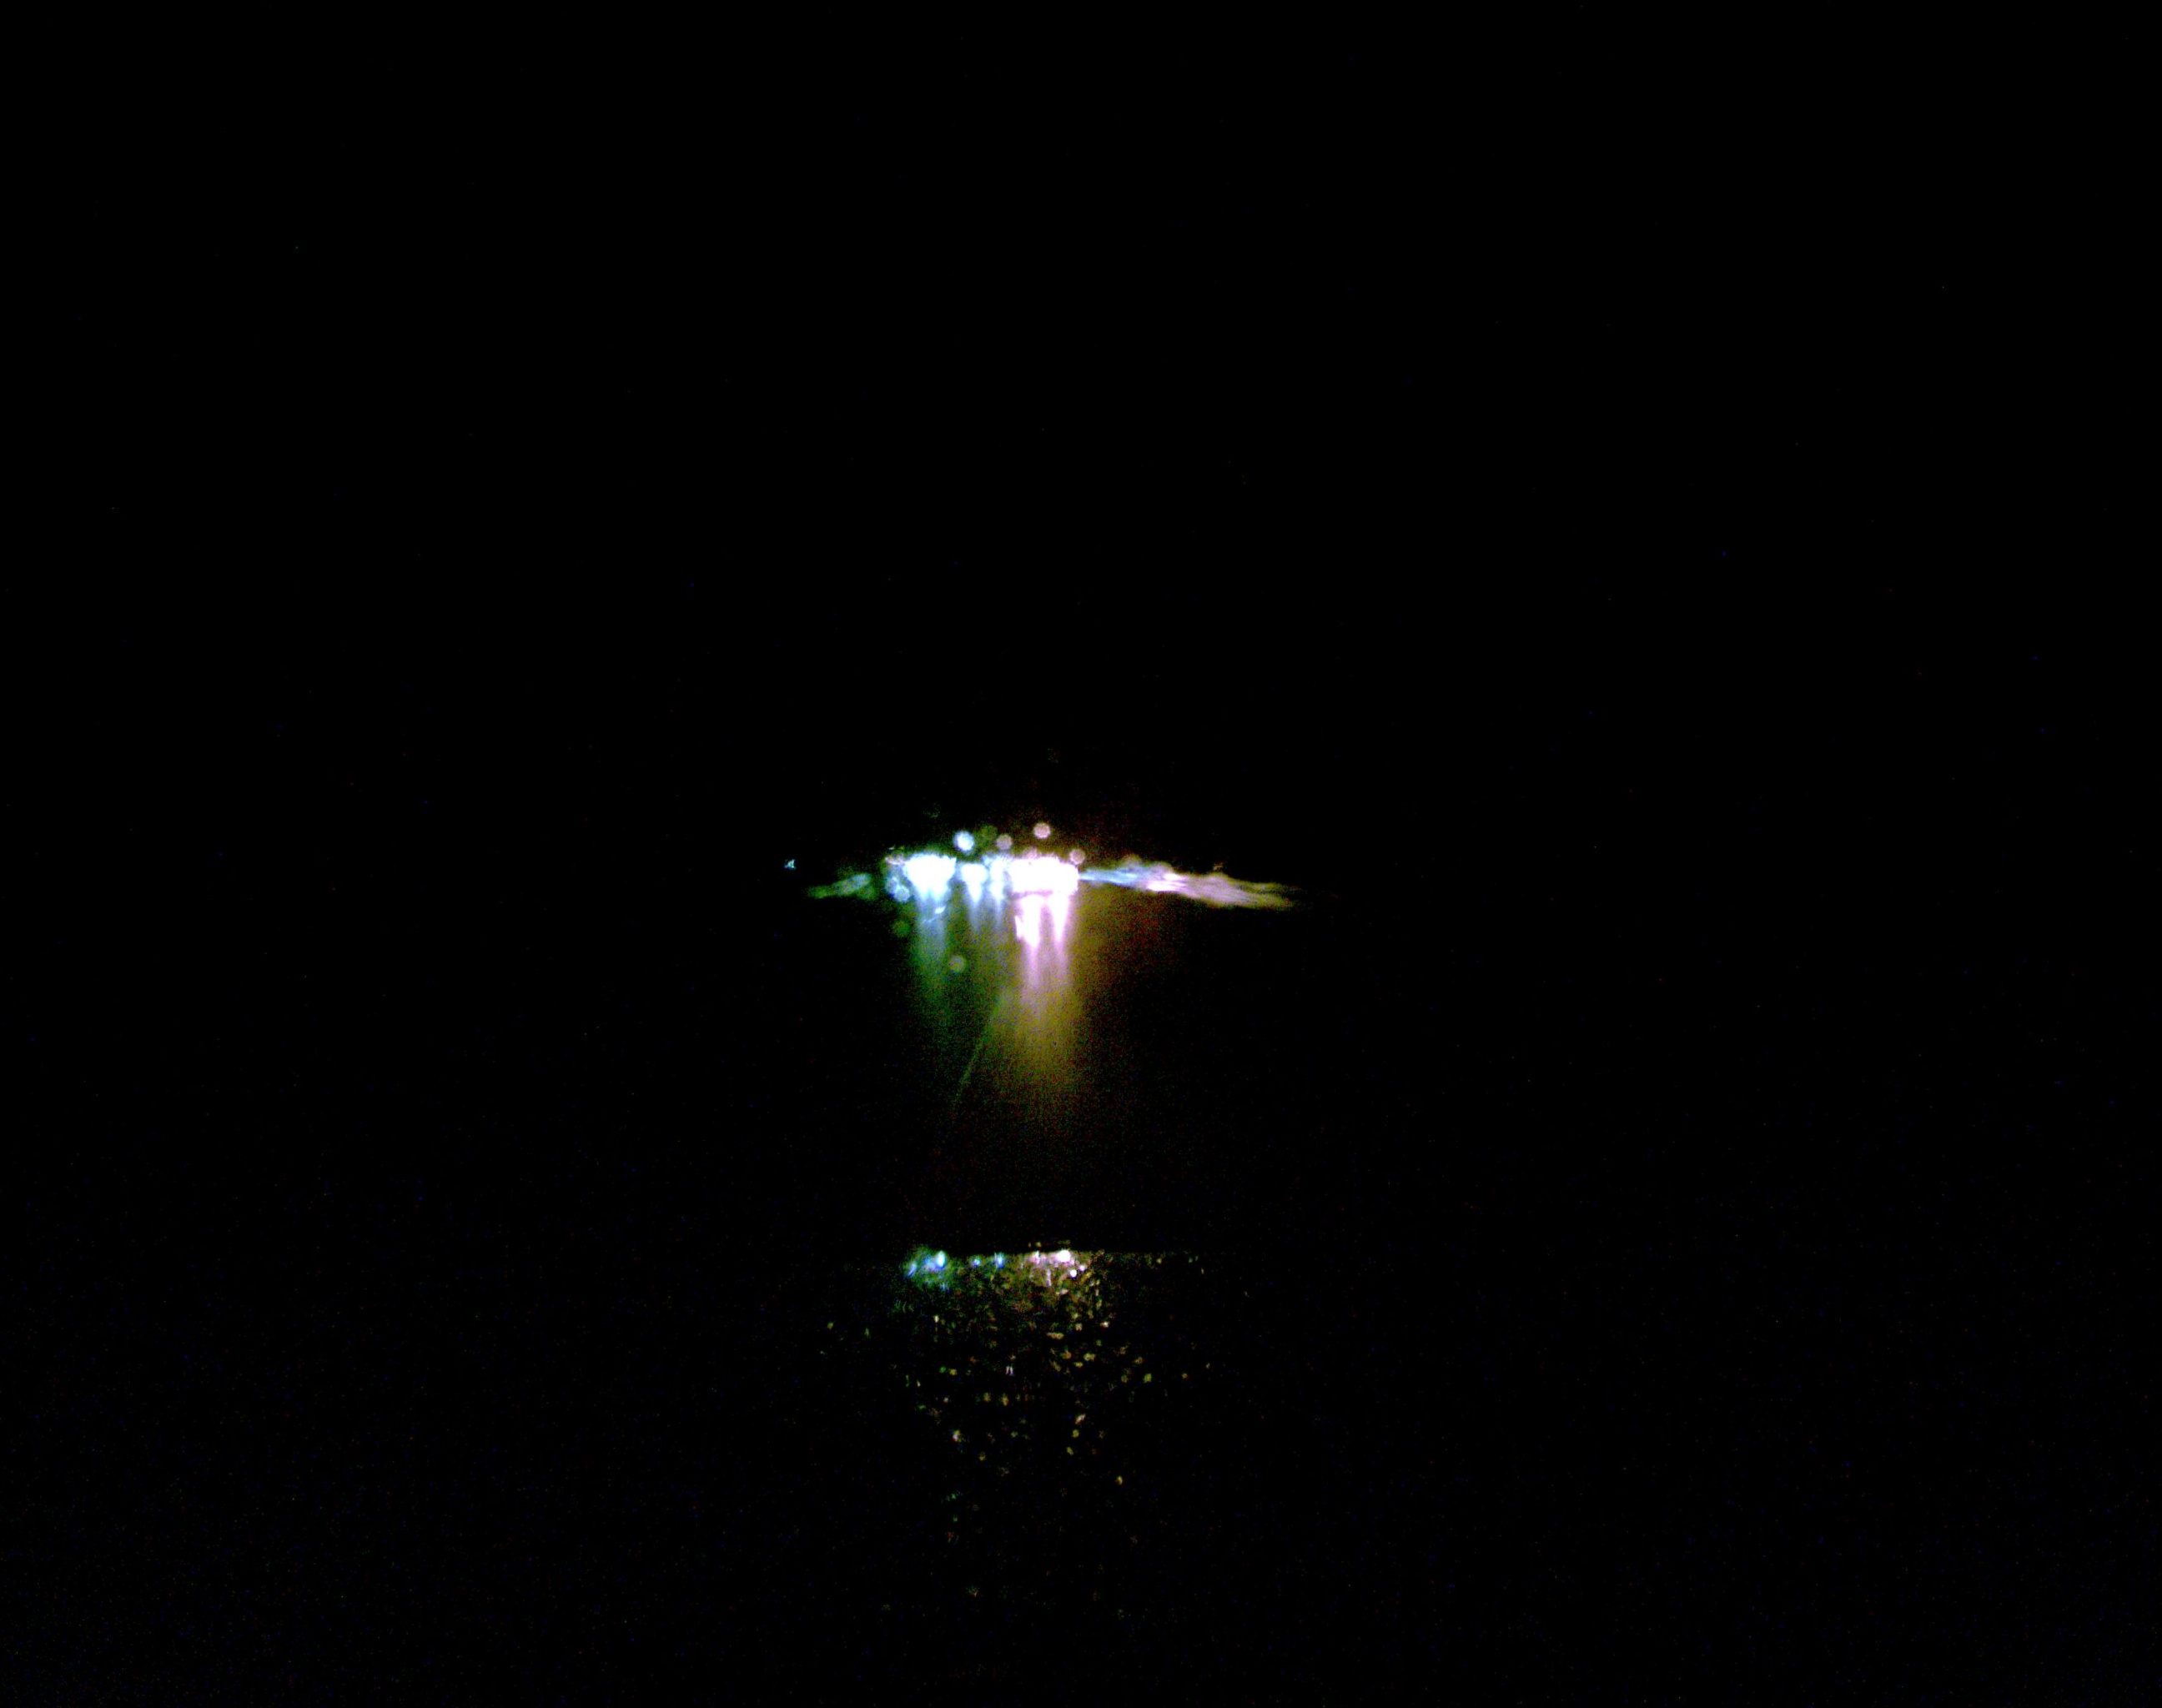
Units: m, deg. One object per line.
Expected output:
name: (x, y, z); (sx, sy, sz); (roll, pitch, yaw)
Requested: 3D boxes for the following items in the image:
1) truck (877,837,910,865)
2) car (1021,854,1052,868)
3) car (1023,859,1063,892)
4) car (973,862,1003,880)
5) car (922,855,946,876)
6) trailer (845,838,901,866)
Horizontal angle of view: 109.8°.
truck: (-30.009, -0.411, 121.511); (2.545, 4.312, 5.548); (-3, 1, -44)
car: (-5.810, 0.878, 98.503); (1.793, 1.641, 4.042); (-2, 0, -43)
car: (-1.868, 1.000, 36.547); (1.687, 1.442, 3.640); (-2, 0, -6)
car: (-7.001, 1.257, 57.186); (1.762, 1.304, 4.081); (-2, 0, -13)
car: (-13.030, 1.036, 67.161); (1.743, 1.674, 4.115); (-3, 0, -16)
trailer: (-34.774, -0.310, 126.484); (2.545, 4.312, 13.671); (-3, 1, -44)
